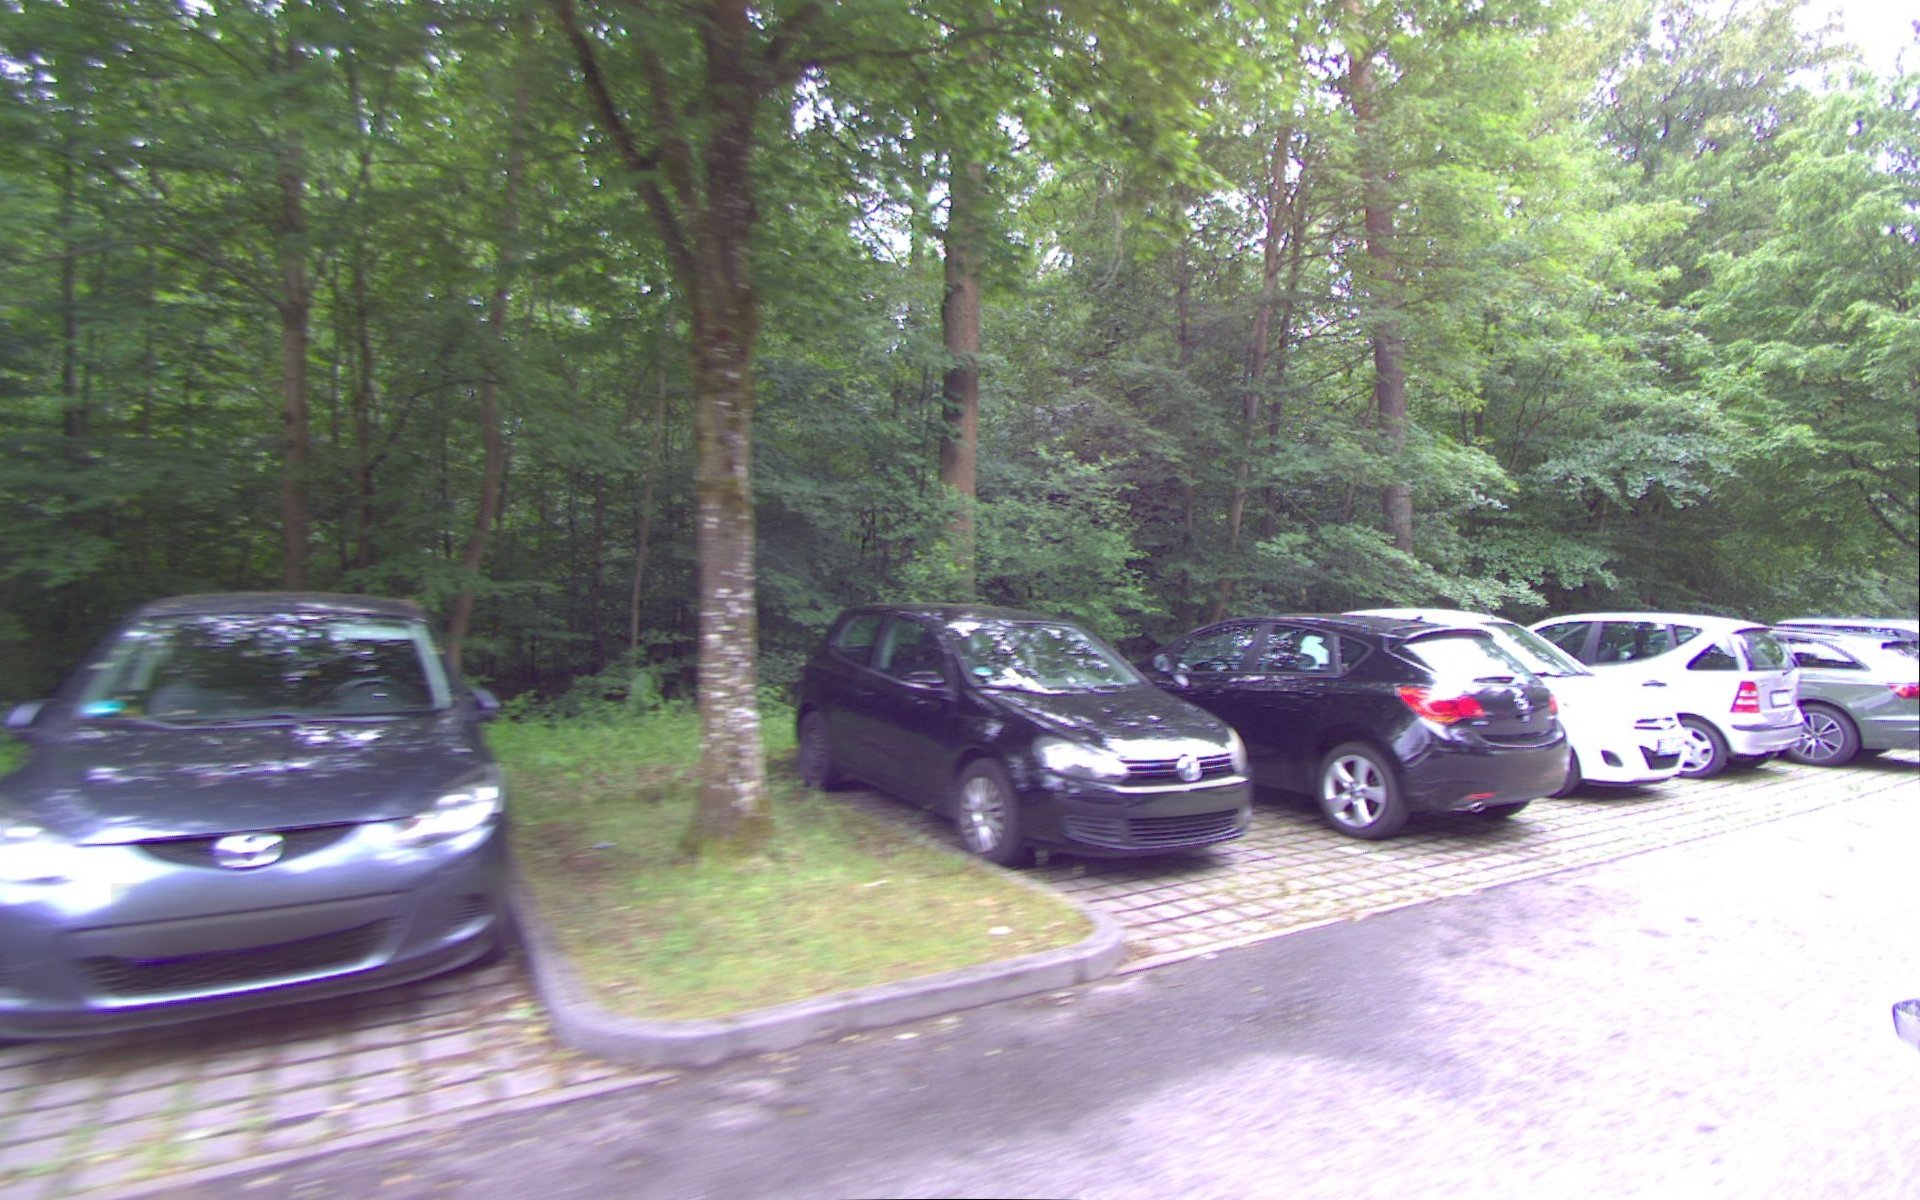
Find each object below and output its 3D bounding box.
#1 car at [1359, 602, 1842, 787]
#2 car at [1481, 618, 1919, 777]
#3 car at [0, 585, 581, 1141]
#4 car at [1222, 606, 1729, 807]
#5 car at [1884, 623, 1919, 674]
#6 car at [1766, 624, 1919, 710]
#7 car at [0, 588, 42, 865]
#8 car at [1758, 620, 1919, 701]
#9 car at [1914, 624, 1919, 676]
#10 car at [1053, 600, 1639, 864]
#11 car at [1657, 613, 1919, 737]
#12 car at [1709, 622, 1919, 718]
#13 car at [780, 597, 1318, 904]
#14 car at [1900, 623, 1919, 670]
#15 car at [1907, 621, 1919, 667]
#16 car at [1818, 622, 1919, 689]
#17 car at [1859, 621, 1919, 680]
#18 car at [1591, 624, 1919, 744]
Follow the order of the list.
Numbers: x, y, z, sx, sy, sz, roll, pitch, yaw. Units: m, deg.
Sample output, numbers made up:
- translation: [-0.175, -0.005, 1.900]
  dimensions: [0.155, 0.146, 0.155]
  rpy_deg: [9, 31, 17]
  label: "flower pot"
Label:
- translation: [6.960, 0.869, 11.340]
  dimensions: [1.951, 1.669, 4.204]
  rpy_deg: [1, -1, -36]
  label: "car"
- translation: [9.140, 1.009, 12.166]
  dimensions: [2.073, 1.497, 4.610]
  rpy_deg: [1, -1, -34]
  label: "car"
- translation: [-3.078, 0.731, 4.782]
  dimensions: [1.688, 1.511, 3.966]
  rpy_deg: [0, -1, -31]
  label: "car"
- translation: [4.850, 0.852, 10.048]
  dimensions: [1.745, 1.554, 4.206]
  rpy_deg: [1, -1, -34]
  label: "car"
- translation: [30.010, 1.470, 29.347]
  dimensions: [1.879, 1.506, 4.323]
  rpy_deg: [2, -1, -44]
  label: "car"
- translation: [17.077, 1.193, 18.066]
  dimensions: [1.854, 1.438, 3.700]
  rpy_deg: [1, -1, -36]
  label: "car"
- translation: [-5.353, 0.679, 3.958]
  dimensions: [1.653, 1.494, 3.593]
  rpy_deg: [1, 0, -27]
  label: "car"
- translation: [18.449, 1.184, 20.224]
  dimensions: [1.668, 1.501, 3.440]
  rpy_deg: [1, -1, -37]
  label: "car"
- translation: [28.416, 1.426, 27.532]
  dimensions: [1.668, 1.463, 3.189]
  rpy_deg: [1, 0, -42]
  label: "car"
- translation: [2.810, 0.802, 8.296]
  dimensions: [1.983, 1.550, 4.212]
  rpy_deg: [1, 0, -30]
  label: "car"
- translation: [13.155, 1.039, 15.115]
  dimensions: [1.973, 1.649, 3.945]
  rpy_deg: [1, -1, -27]
  label: "car"
- translation: [15.151, 1.129, 16.908]
  dimensions: [1.882, 1.440, 3.771]
  rpy_deg: [1, -1, -40]
  label: "car"
- translation: [0.278, 0.767, 7.237]
  dimensions: [1.701, 1.493, 4.211]
  rpy_deg: [2, 0, -31]
  label: "car"
- translation: [32.129, 1.488, 31.002]
  dimensions: [2.072, 1.466, 4.516]
  rpy_deg: [1, -1, -45]
  label: "car"
- translation: [33.882, 1.486, 32.534]
  dimensions: [1.855, 1.506, 4.522]
  rpy_deg: [1, 0, -41]
  label: "car"
- translation: [22.477, 1.287, 22.699]
  dimensions: [2.017, 1.443, 4.372]
  rpy_deg: [1, 0, -37]
  label: "car"
- translation: [26.260, 1.351, 25.939]
  dimensions: [2.039, 1.506, 4.233]
  rpy_deg: [1, 0, -38]
  label: "car"
- translation: [11.256, 1.065, 14.050]
  dimensions: [1.712, 1.374, 3.764]
  rpy_deg: [1, -1, -35]
  label: "car"
